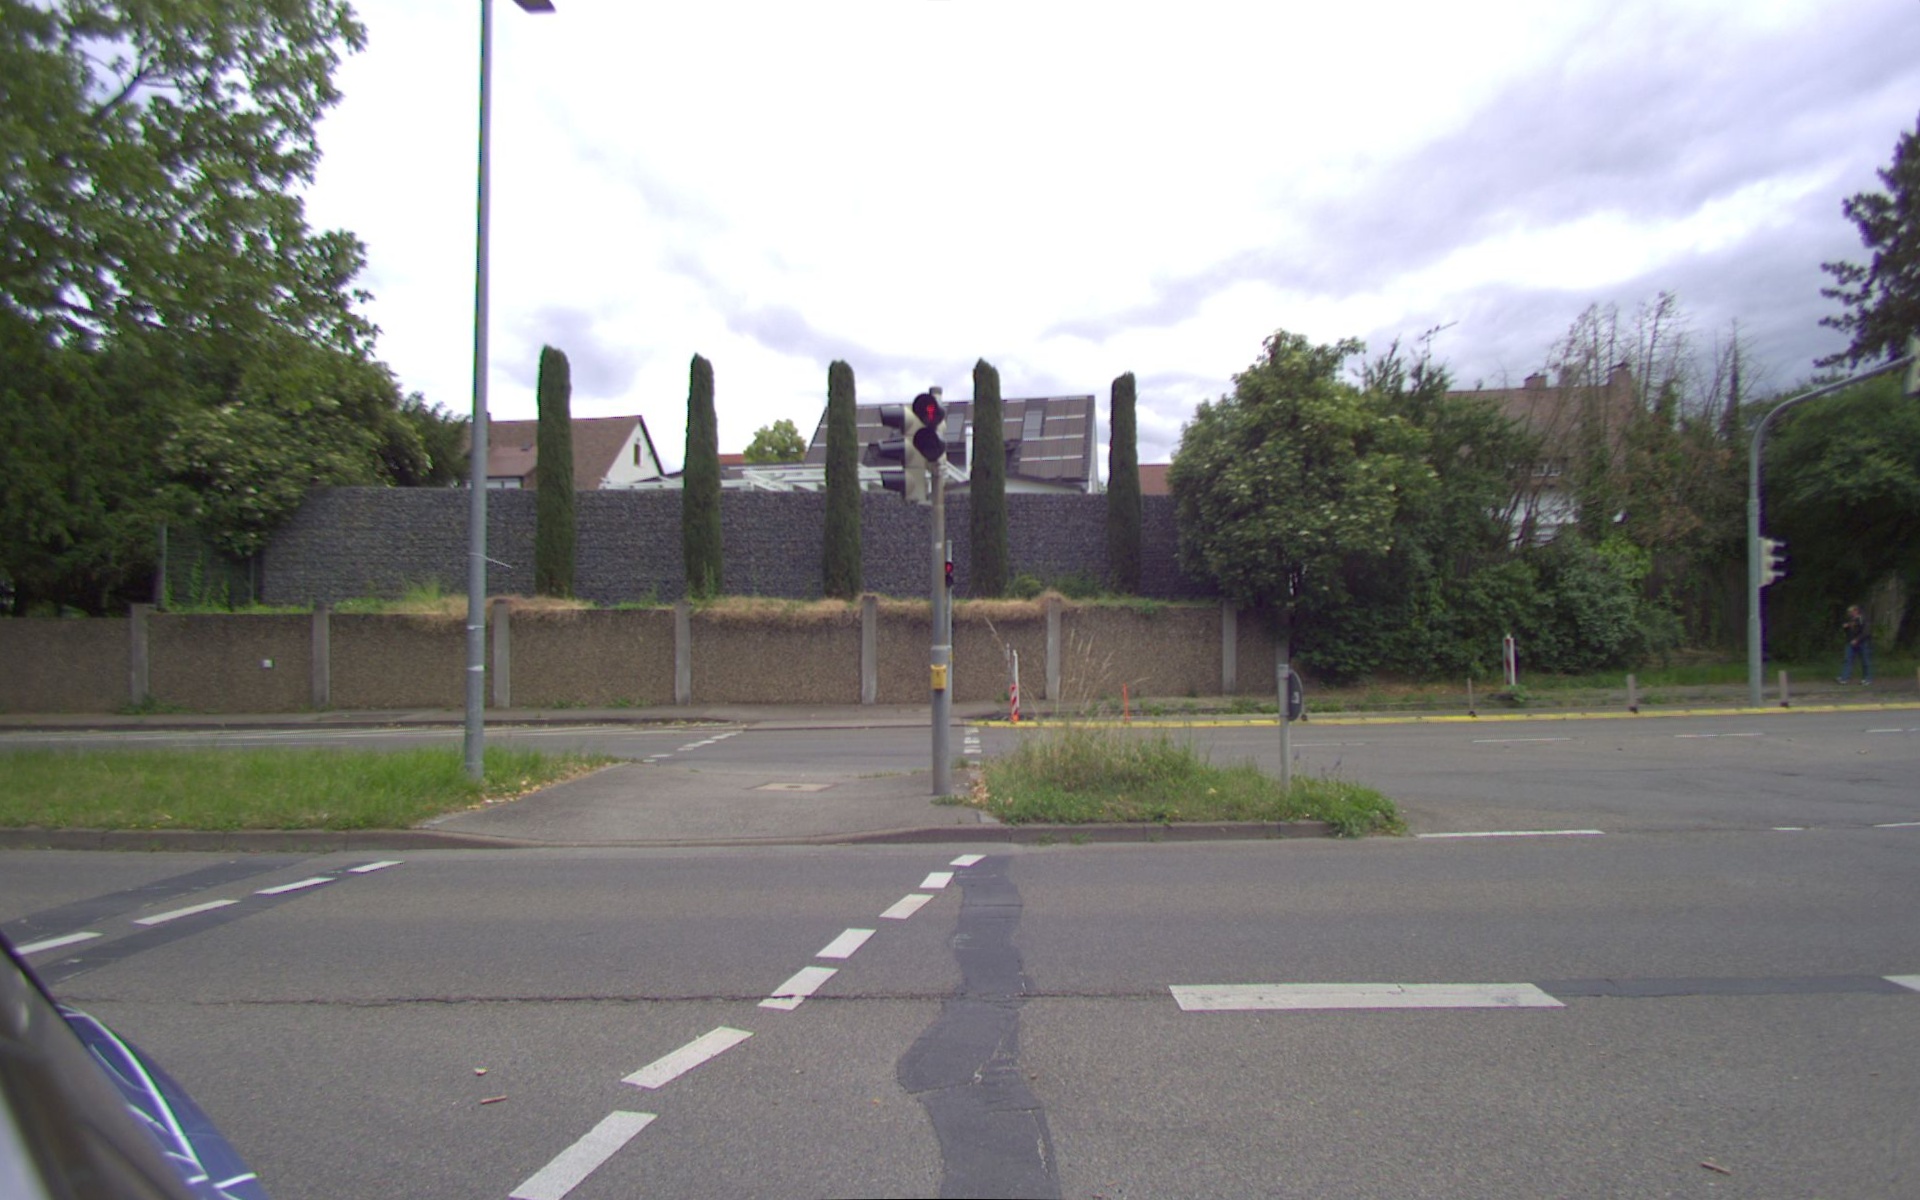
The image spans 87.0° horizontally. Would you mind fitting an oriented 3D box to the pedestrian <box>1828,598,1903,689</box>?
[{"bbox_3d":[20.891,0.984,23.361,0.840,2.029,0.955,0,-1,-18],"label":"pedestrian"}]
